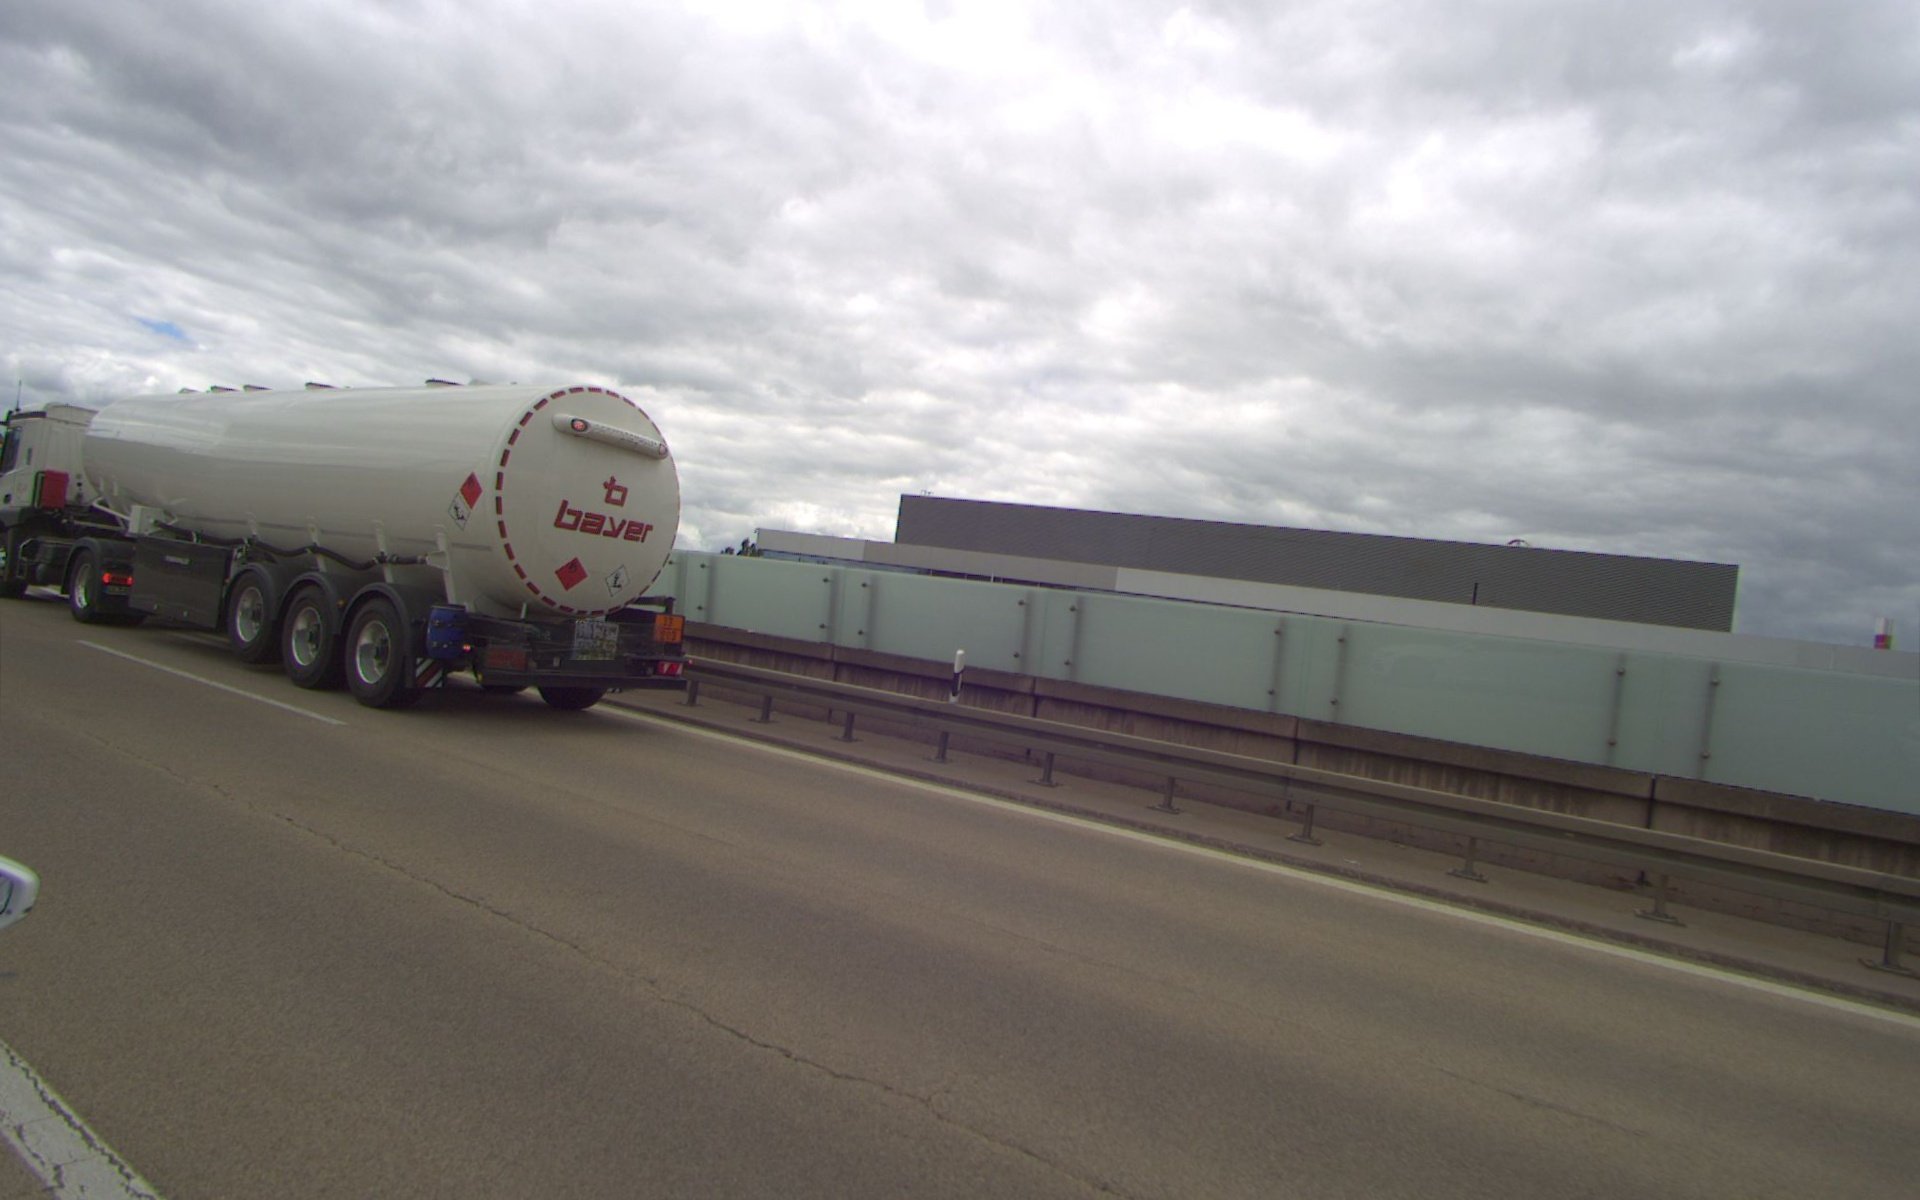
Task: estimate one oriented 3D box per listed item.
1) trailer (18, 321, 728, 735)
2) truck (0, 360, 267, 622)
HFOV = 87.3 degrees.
[{"bbox_3d":[-8.051,-0.998,12.708,11.036,3.584,2.655,6,-2,32],"label":"trailer"},{"bbox_3d":[-14.367,-1.766,16.756,4.823,3.554,2.636,7,-1,32],"label":"truck"}]
